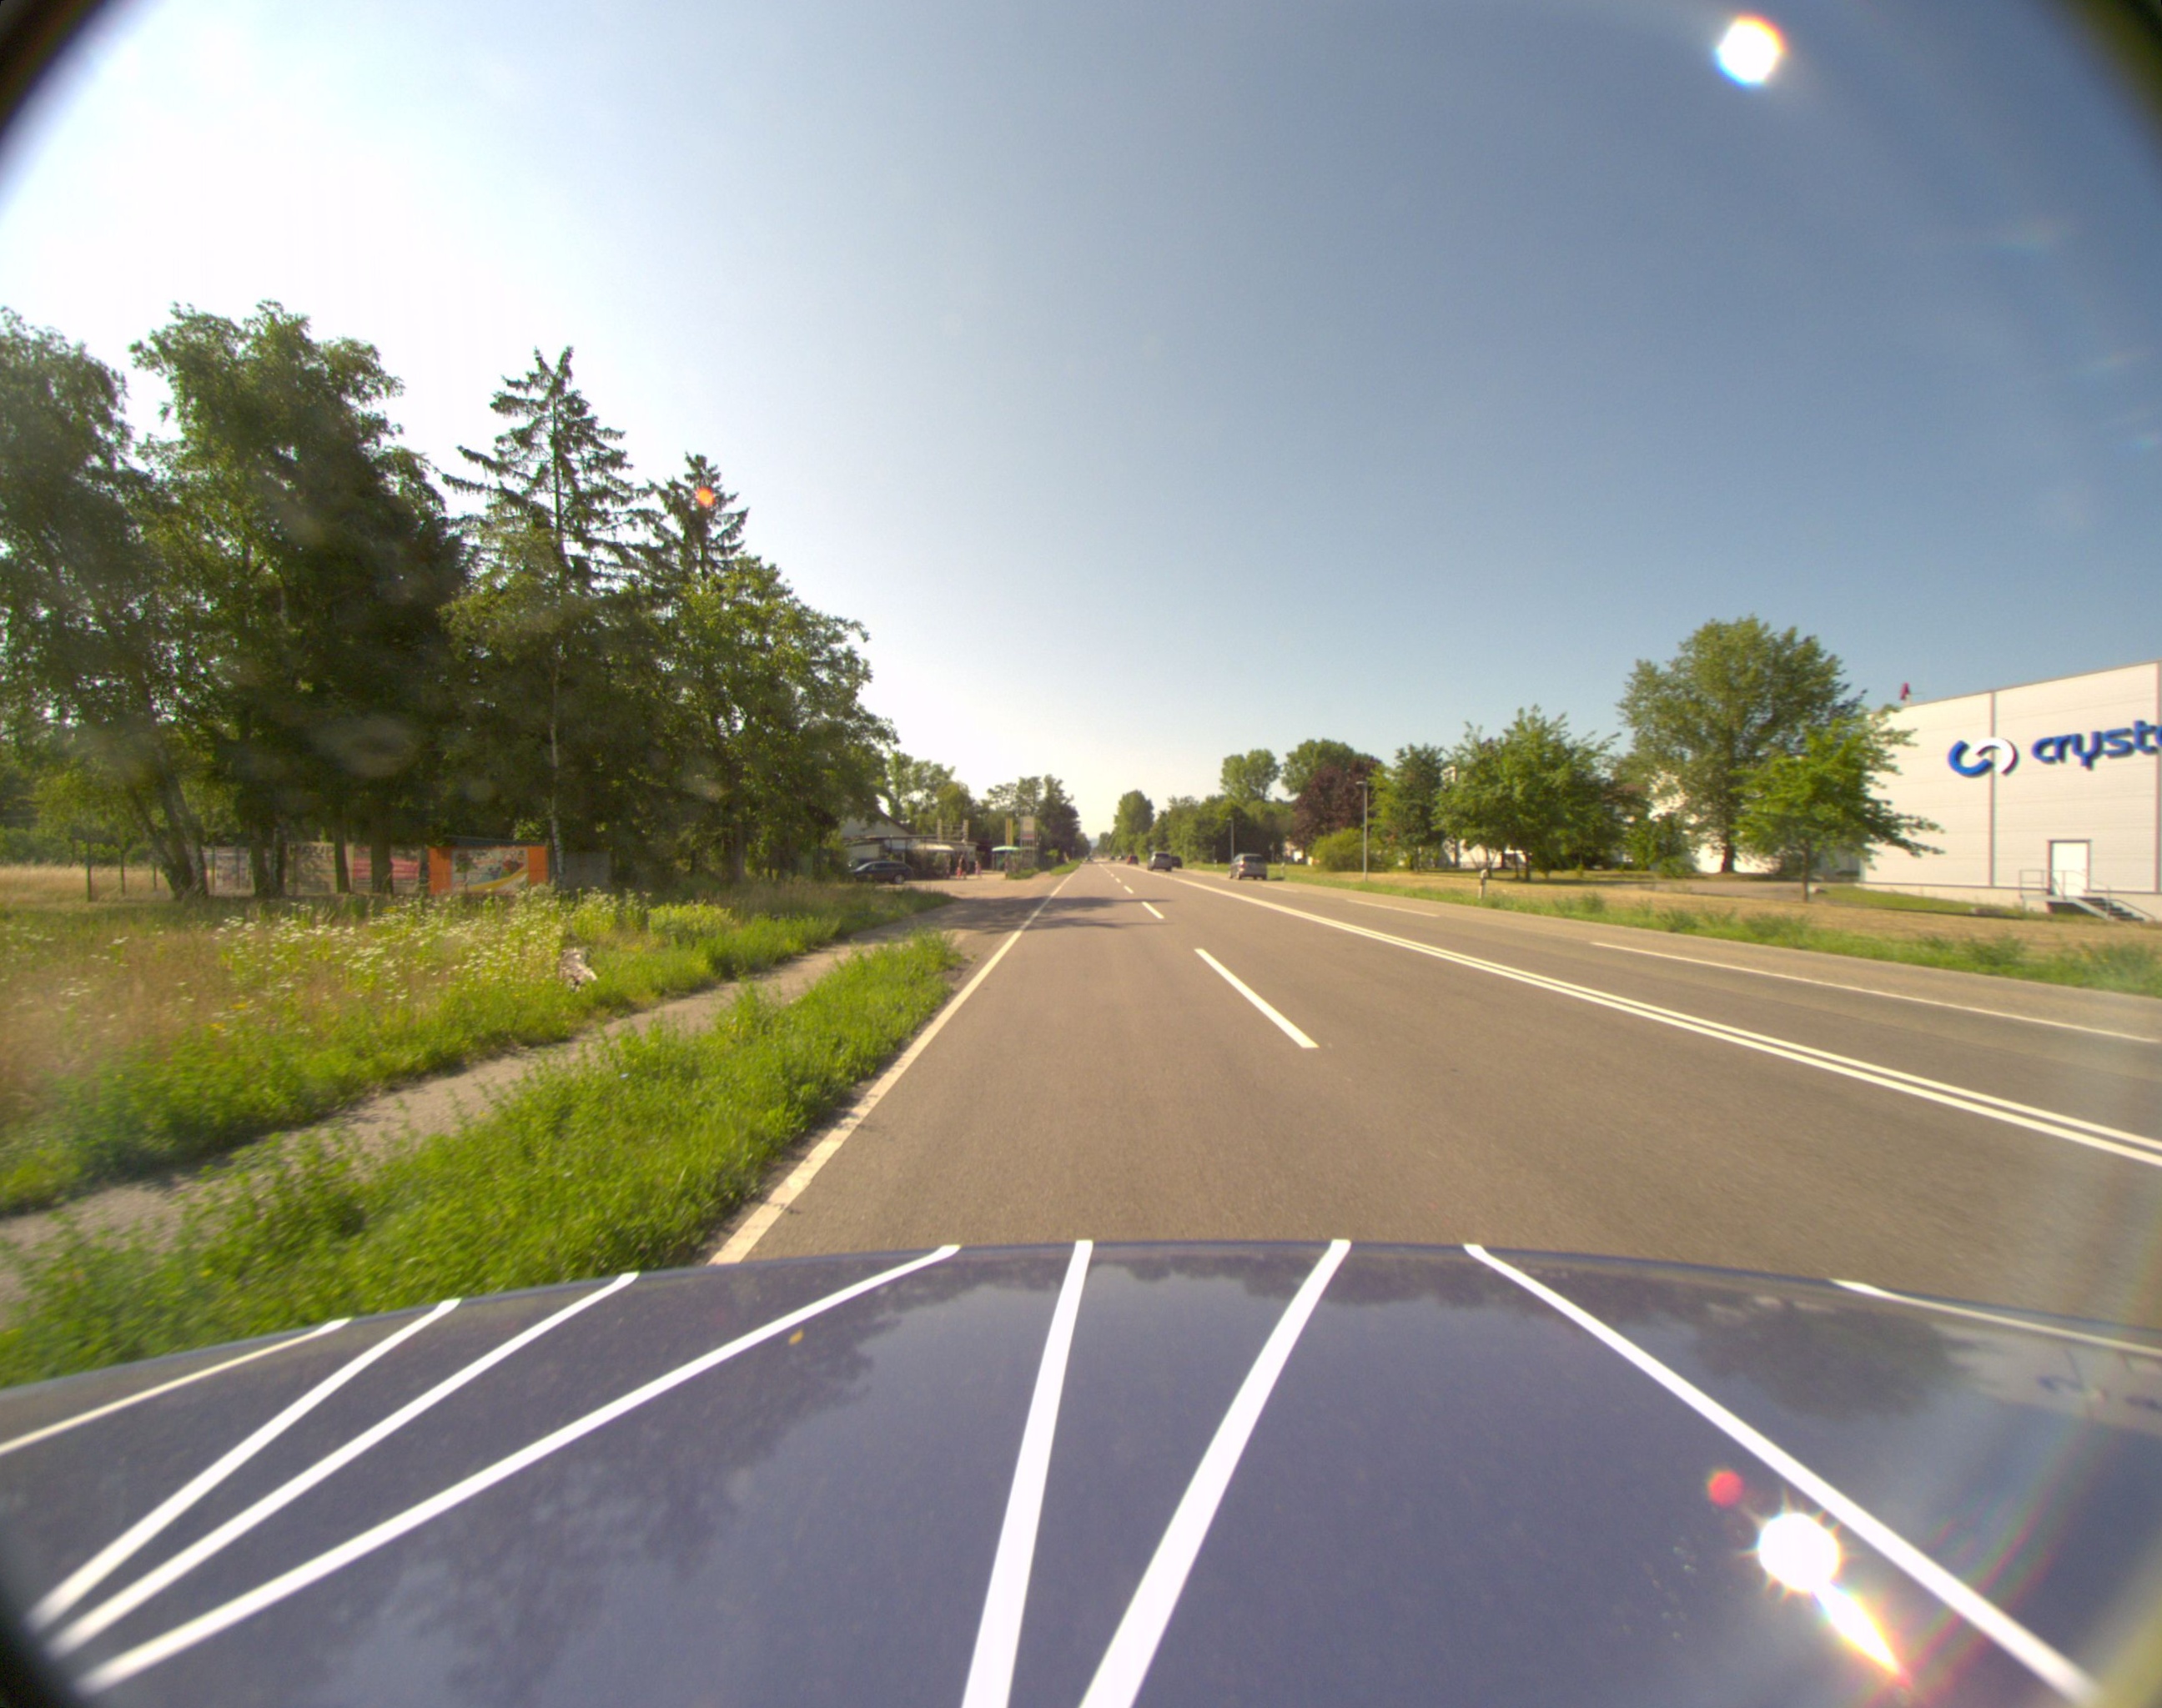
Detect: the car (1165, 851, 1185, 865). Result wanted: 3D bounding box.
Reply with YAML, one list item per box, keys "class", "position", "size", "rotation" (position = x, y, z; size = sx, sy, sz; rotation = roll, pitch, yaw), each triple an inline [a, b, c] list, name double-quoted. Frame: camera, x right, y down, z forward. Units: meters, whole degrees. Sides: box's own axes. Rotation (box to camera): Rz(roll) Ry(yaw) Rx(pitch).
- class: "car"
  position: [10.599, 0.433, 86.198]
  size: [1.656, 1.472, 4.740]
  rotation: [2, 0, 0]

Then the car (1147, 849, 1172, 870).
- class: "car"
  position: [6.901, 0.435, 66.839]
  size: [1.776, 1.704, 4.569]
  rotation: [2, 0, 1]

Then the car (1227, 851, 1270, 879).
- class: "car"
  position: [10.243, 0.639, 46.728]
  size: [1.733, 1.552, 4.215]
  rotation: [1, 0, 1]

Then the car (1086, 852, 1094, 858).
- class: "car"
  position: [2.300, 0.308, 190.558]
  size: [1.768, 1.403, 4.001]
  rotation: [0, -1, 2]

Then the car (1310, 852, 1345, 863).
- class: "car"
  position: [29.955, 0.462, 92.343]
  size: [4.006, 1.362, 1.818]
  rotation: [0, -1, -29]

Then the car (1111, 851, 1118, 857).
- class: "car"
  position: [9.354, 0.023, 213.272]
  size: [1.768, 1.403, 4.174]
  rotation: [0, -1, 2]

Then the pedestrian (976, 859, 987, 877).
- class: "pedestrian"
  position: [-7.492, 1.061, 57.290]
  size: [0.725, 1.330, 0.824]
  rotation: [0, 1, -12]

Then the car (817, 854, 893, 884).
- class: "car"
  position: [-14.835, 0.956, 49.815]
  size: [4.470, 1.792, 1.860]
  rotation: [-1, 0, -28]

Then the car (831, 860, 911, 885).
- class: "car"
  position: [-12.981, 1.102, 47.057]
  size: [4.470, 1.422, 1.711]
  rotation: [-1, 0, -28]

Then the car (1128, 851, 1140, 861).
- class: "car"
  position: [8.241, 0.316, 118.488]
  size: [1.654, 1.489, 3.844]
  rotation: [2, 0, 0]

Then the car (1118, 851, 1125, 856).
- class: "car"
  position: [11.831, -0.052, 220.952]
  size: [1.768, 1.403, 4.001]
  rotation: [0, -1, 2]

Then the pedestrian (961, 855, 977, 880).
- class: "pedestrian"
  position: [-8.254, 0.973, 55.991]
  size: [1.100, 1.775, 0.935]
  rotation: [0, 1, -12]

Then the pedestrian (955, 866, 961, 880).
- class: "pedestrian"
  position: [-8.973, 1.377, 55.406]
  size: [0.470, 0.978, 0.338]
  rotation: [0, 1, -12]
